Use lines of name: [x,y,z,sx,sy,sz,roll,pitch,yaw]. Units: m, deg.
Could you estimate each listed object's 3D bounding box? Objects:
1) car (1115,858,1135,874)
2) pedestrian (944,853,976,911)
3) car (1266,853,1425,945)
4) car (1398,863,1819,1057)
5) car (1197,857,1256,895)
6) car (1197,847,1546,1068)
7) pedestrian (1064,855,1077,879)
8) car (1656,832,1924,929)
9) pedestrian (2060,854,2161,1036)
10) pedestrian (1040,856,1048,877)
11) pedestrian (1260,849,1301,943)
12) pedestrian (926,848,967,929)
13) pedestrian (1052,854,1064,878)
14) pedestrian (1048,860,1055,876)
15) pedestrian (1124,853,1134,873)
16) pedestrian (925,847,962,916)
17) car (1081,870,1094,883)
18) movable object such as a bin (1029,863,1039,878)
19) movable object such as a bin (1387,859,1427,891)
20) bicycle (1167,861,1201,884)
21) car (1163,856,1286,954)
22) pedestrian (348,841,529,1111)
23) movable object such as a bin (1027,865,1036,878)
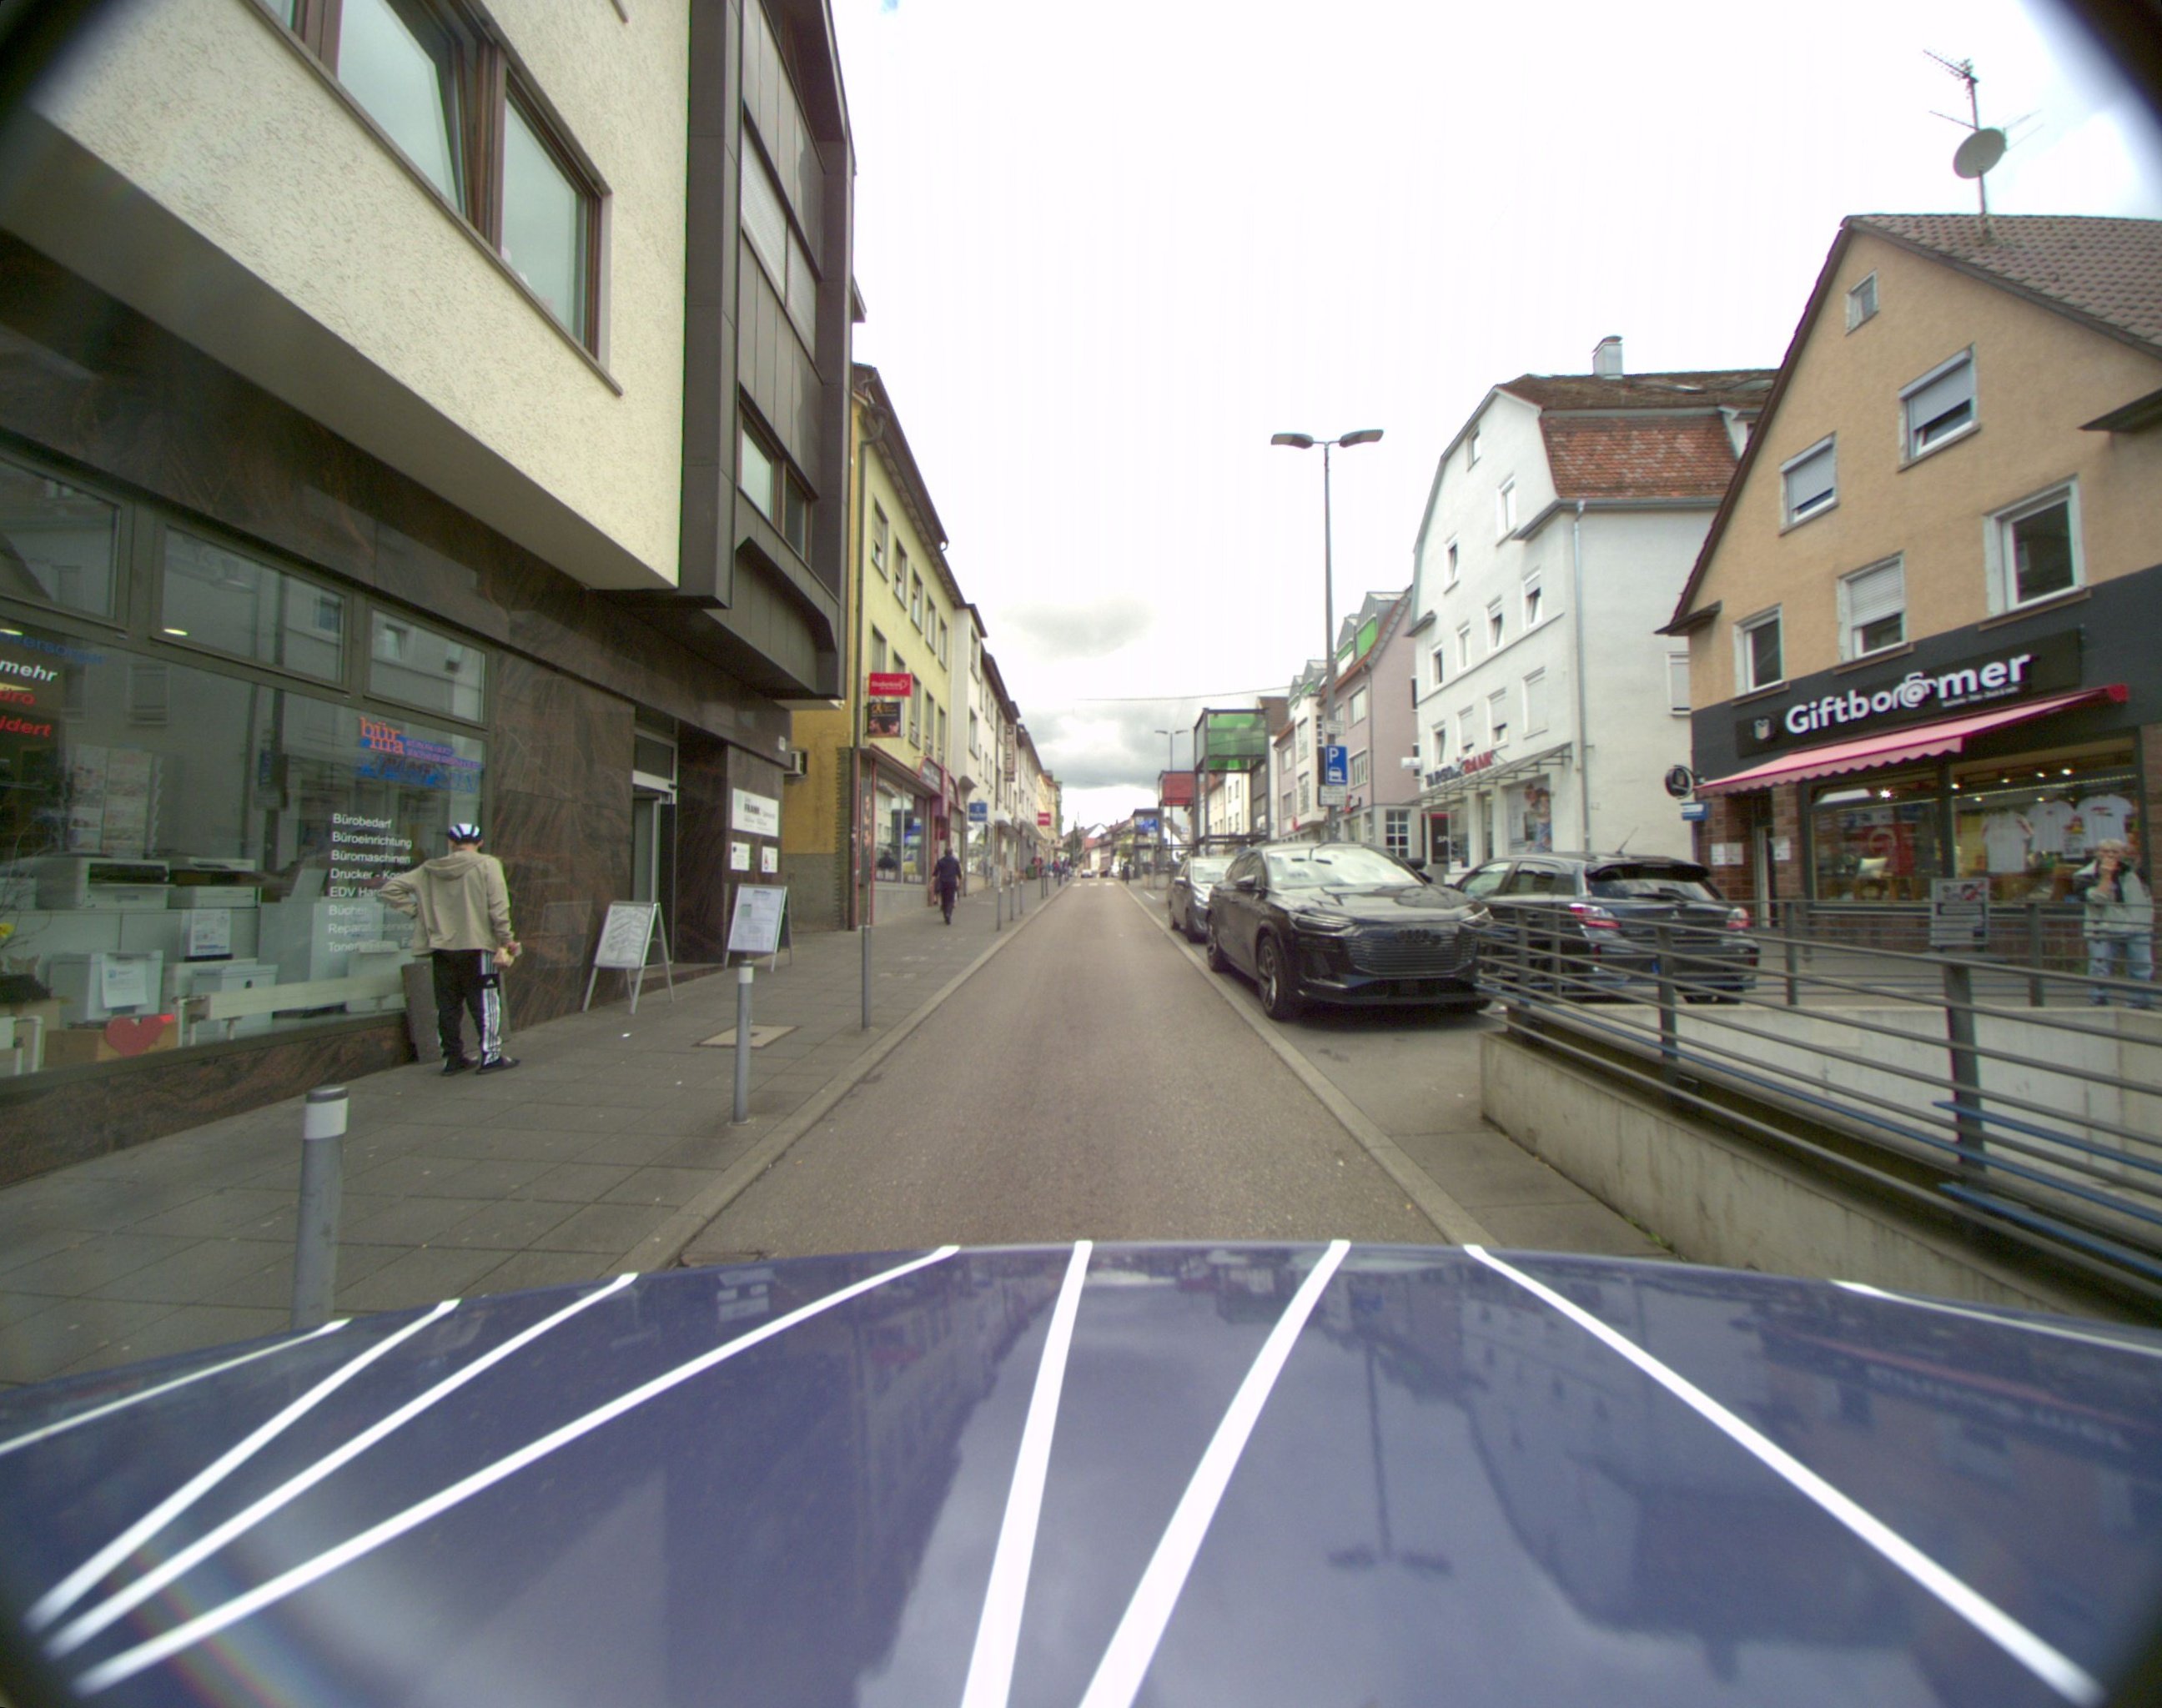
car: [4.250,1.107,73.899,1.754,1.452,3.601,-2,0,2]
pedestrian: [-3.482,0.791,21.901,0.713,1.621,0.835,2,0,1]
car: [5.107,0.775,15.294,1.743,1.534,4.193,-2,0,1]
car: [5.132,0.892,8.167,1.743,1.467,3.883,3,0,0]
car: [6.009,0.867,31.826,1.573,1.466,3.855,0,0,-2]
car: [2.562,0.789,7.977,1.961,1.630,4.314,-2,0,0]
pedestrian: [-0.733,0.886,53.625,0.740,1.660,0.786,2,0,-8]
car: [15.643,0.566,16.964,4.080,1.862,1.884,-3,0,3]
pedestrian: [10.066,0.842,7.329,0.644,1.679,0.668,0,0,41]
pedestrian: [-3.075,1.050,63.194,0.627,1.715,0.607,2,0,-4]
pedestrian: [3.680,0.756,14.051,0.535,1.662,0.901,-1,0,4]
pedestrian: [-2.974,0.740,16.878,0.713,1.743,0.787,1,1,1]
pedestrian: [-1.603,0.865,53.447,0.740,1.660,0.627,2,0,-8]
pedestrian: [-2.934,1.380,76.687,0.627,1.620,0.607,-2,1,-4]
pedestrian: [4.407,0.830,69.797,0.759,1.715,0.756,3,0,-4]
pedestrian: [-3.631,0.712,20.141,0.713,1.743,0.785,4,0,1]
car: [0.872,3.117,106.246,1.741,1.608,3.843,-2,0,1]
movable object such as a bin: [-3.366,1.178,54.591,0.670,1.024,0.560,0,0,1]
movable object such as a bin: [14.093,0.894,32.860,1.286,1.368,1.067,-1,0,1]
bicycle: [5.497,0.986,40.675,1.782,1.216,0.460,0,1,0]
car: [2.539,0.835,14.212,1.624,1.523,3.670,-2,0,1]
pedestrian: [-4.235,0.772,5.050,0.665,1.679,0.543,3,0,-5]
movable object such as a bin: [-3.511,1.257,53.981,0.568,0.951,0.498,0,0,1]
